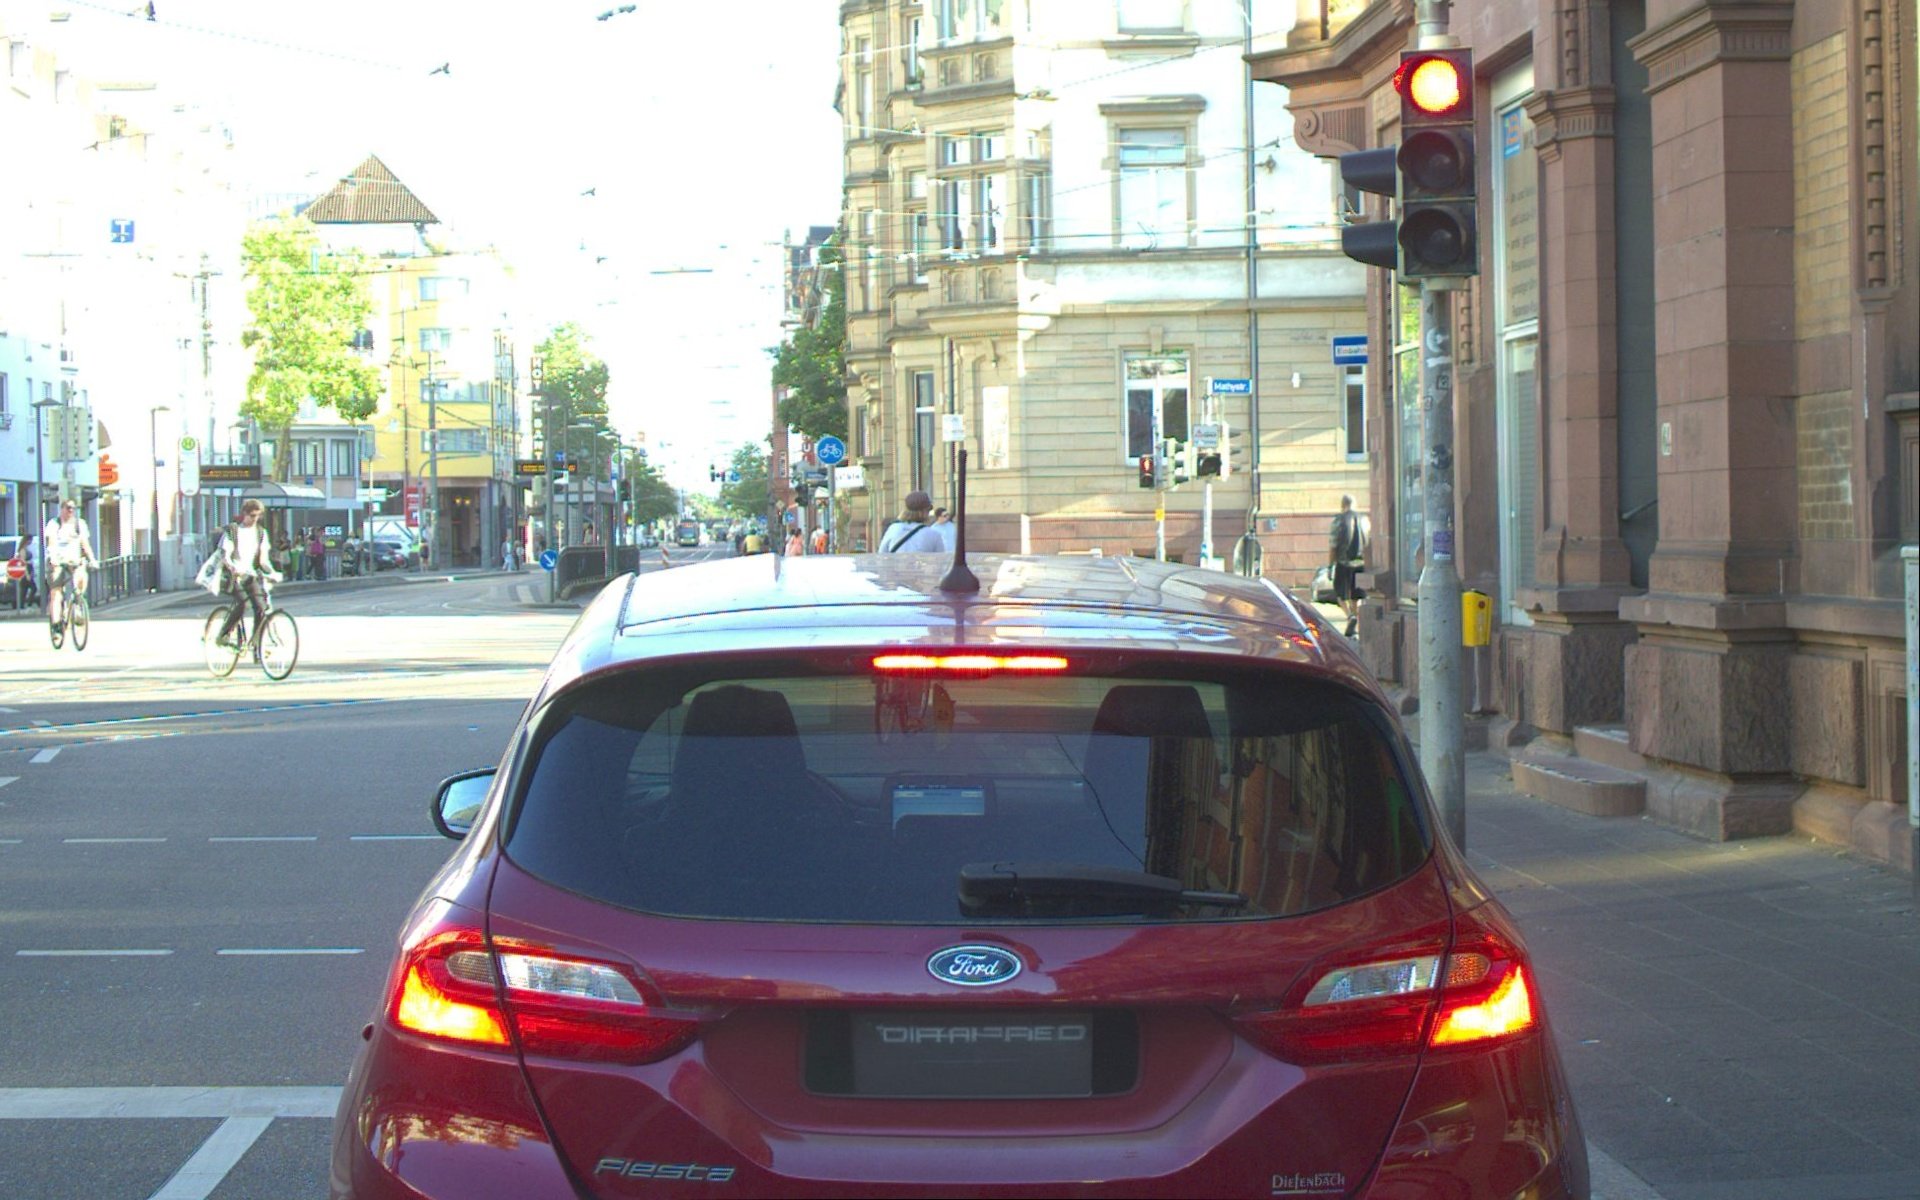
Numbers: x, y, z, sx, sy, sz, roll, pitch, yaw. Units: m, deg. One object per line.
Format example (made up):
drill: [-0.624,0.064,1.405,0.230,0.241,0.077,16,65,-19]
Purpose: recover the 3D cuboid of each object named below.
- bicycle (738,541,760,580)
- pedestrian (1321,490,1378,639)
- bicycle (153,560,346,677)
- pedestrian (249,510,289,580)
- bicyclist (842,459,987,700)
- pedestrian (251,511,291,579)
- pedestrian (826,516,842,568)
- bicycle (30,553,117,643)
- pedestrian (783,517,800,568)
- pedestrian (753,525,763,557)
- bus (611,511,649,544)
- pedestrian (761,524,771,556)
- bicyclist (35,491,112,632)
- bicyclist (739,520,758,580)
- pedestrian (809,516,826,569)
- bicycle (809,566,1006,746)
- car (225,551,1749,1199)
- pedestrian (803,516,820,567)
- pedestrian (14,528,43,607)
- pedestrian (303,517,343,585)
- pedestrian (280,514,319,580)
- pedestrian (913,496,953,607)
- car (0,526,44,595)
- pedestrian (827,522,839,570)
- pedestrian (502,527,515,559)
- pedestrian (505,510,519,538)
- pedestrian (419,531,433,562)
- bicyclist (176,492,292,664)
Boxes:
bicycle: [-5.924,-1.110,96.598,0.526,1.085,1.486,-1,1,-1]
pedestrian: [4.656,-0.426,41.139,0.560,1.749,0.650,-1,1,-1]
bicycle: [-7.206,0.176,34.828,2.048,1.143,0.808,0,1,41]
pedestrian: [-20.209,-1.614,100.545,0.956,2.007,1.049,-1,1,-3]
bicyclist: [-0.310,-0.144,23.596,0.764,1.621,0.731,1,1,21]
pedestrian: [-20.617,-1.661,102.858,1.045,2.007,0.959,-1,1,-5]
pedestrian: [-4.924,-2.276,134.428,0.577,2.007,0.631,-1,1,3]
bicycle: [-11.712,-0.038,45.377,0.807,1.143,2.011,-1,1,-23]
pedestrian: [-6.683,-2.271,136.053,0.577,2.007,0.631,-1,1,3]
pedestrian: [-11.975,-3.494,203.770,0.577,1.880,0.669,-1,1,-3]
bus: [-20.836,-4.588,217.055,1.925,2.007,7.138,-1,1,-2]
pedestrian: [-11.319,-3.498,200.444,0.577,1.880,0.631,-1,1,-3]
bicyclist: [-11.661,-0.510,45.209,0.807,1.815,0.994,-1,1,-23]
bicyclist: [-5.938,-1.399,96.431,0.499,1.670,0.545,-1,1,-2]
pedestrian: [-5.423,-2.197,130.932,0.577,2.007,0.631,-1,1,3]
bicycle: [-0.335,0.356,23.558,0.627,1.173,2.022,1,1,21]
car: [-0.131,0.664,5.928,1.754,1.461,3.946,1,1,-5]
pedestrian: [-5.878,-2.304,136.126,0.577,2.007,0.631,-1,1,3]
pedestrian: [-19.935,-0.708,73.590,0.524,1.676,0.486,-1,1,-10]
pedestrian: [-19.016,-1.474,102.647,1.045,2.007,0.959,-1,1,-5]
pedestrian: [-20.177,-1.623,105.009,1.045,2.007,0.959,-1,1,-5]
pedestrian: [-0.500,-0.894,63.078,0.651,2.007,0.760,-1,1,-4]
car: [-24.537,-1.019,87.423,1.701,1.712,3.565,-1,1,-4]
pedestrian: [-4.498,-1.908,121.744,0.413,1.674,0.485,-1,1,-1]
pedestrian: [-21.204,-2.685,161.601,0.524,1.483,0.583,-1,1,-1]
pedestrian: [-25.636,-4.332,196.782,0.628,1.599,0.579,-1,1,-20]
pedestrian: [-25.521,-2.562,164.266,0.580,1.483,0.526,-1,1,-5]
bicyclist: [-7.381,-0.229,34.952,0.793,1.720,0.808,0,1,40]
